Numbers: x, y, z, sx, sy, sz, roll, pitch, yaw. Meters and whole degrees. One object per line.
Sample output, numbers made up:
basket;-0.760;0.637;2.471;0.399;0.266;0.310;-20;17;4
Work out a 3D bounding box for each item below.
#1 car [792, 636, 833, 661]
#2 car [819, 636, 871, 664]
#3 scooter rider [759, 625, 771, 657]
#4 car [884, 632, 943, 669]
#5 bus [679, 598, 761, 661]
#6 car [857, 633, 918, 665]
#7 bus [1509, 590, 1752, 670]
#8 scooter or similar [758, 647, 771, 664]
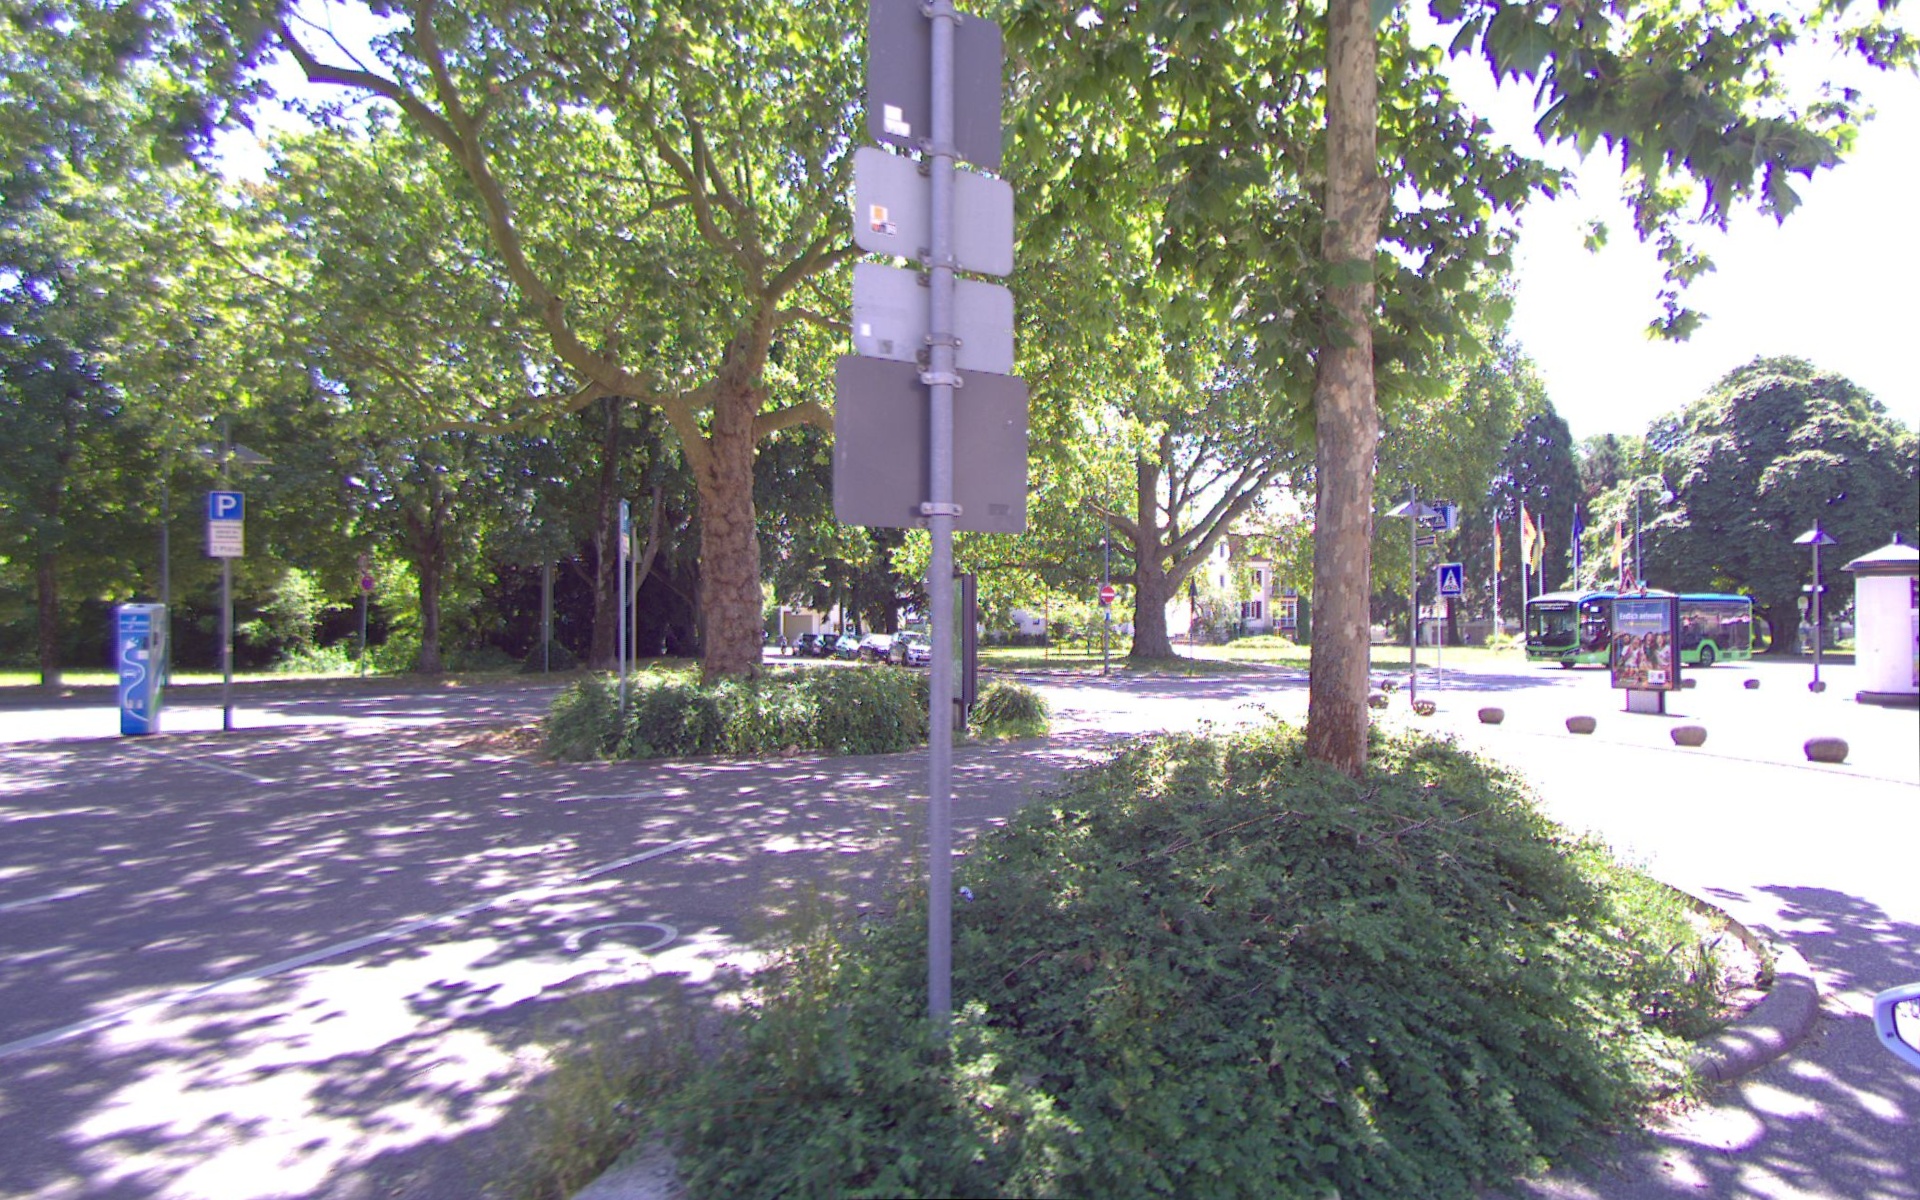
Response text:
car;-9.366;3.020;63.400;1.734;1.513;3.898;1;-2;-21
car;-6.359;2.708;55.065;1.730;1.458;4.747;1;-2;-21
scooter rider;-14.435;3.009;74.239;0.729;2.348;0.923;0;-1;-19
car;-2.079;2.202;44.143;1.576;1.516;3.469;2;-2;-21
bus;-15.032;1.827;61.711;2.835;3.338;15.875;1;-2;-21
car;-3.611;2.368;49.308;1.730;1.458;4.481;2;-2;-21
bus;30.521;1.330;45.570;12.243;3.326;2.804;1;-1;-22
scooter or similar;-14.434;4.063;74.208;0.729;1.198;1.513;0;-1;-19
